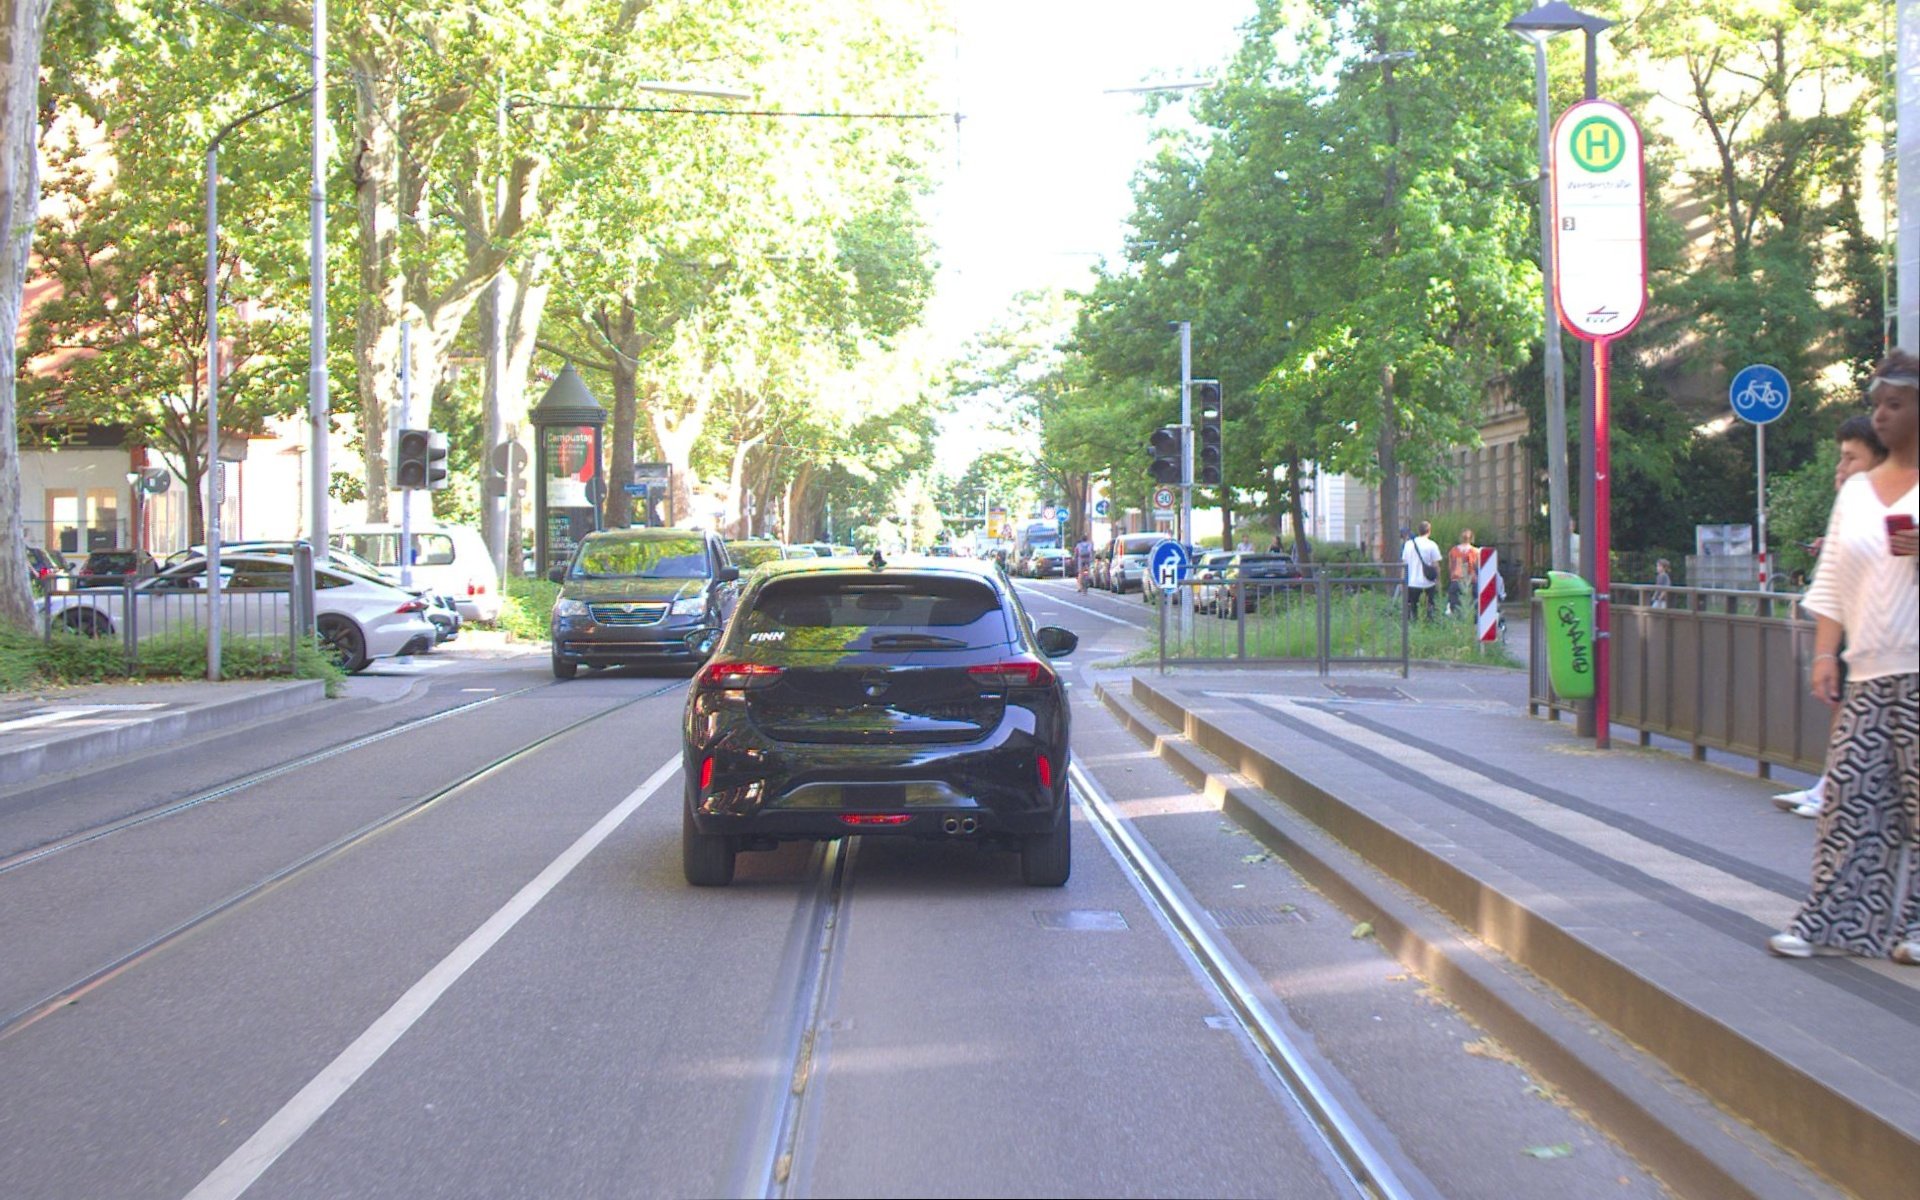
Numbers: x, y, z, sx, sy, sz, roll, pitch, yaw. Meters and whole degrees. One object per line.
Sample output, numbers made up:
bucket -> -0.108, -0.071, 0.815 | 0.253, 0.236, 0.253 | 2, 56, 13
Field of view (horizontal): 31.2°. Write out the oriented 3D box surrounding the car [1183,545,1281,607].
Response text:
car -> 6.420, -0.573, 81.455 | 1.884, 1.363, 4.107 | -2, 1, -1

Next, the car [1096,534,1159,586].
car -> 5.851, -1.403, 120.464 | 1.885, 1.760, 4.678 | 0, 1, -1

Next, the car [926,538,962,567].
car -> -1.039, -3.076, 224.620 | 2.254, 1.834, 5.531 | -1, 1, -1

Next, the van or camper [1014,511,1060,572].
van or camper -> 4.128, -3.130, 185.056 | 2.254, 3.205, 5.531 | -1, 1, -1

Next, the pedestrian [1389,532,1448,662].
pedestrian -> 6.430, -0.053, 48.204 | 0.726, 1.787, 0.853 | -2, 1, 10

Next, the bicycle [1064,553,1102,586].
bicycle -> 3.759, -0.935, 105.434 | 0.968, 0.995, 2.583 | 1, 1, -2

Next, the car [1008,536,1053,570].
car -> 3.922, -2.608, 192.260 | 2.254, 1.834, 5.531 | -1, 1, -1

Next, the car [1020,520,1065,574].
car -> 4.253, -2.772, 178.495 | 2.085, 2.762, 4.698 | -1, 1, -1

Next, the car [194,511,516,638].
car -> -9.128, -0.394, 52.166 | 4.570, 1.828, 1.939 | 1, 1, -2

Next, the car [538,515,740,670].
car -> -3.770, -0.116, 41.184 | 1.993, 1.710, 5.143 | 1, 1, -1

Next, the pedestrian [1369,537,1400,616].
pedestrian -> 9.703, -0.529, 78.562 | 0.599, 1.787, 0.728 | 1, 1, 15

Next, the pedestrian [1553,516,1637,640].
pedestrian -> 9.766, -0.340, 52.918 | 0.867, 1.878, 0.998 | 1, 1, -18

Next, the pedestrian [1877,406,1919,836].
pedestrian -> 4.126, 0.087, 14.431 | 0.493, 1.764, 0.703 | 1, 1, 14

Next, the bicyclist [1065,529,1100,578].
bicyclist -> 3.761, -1.429, 105.396 | 0.958, 1.494, 1.094 | 1, 1, -2

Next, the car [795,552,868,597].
car -> -4.266, -0.853, 113.746 | 1.660, 1.439, 3.474 | 1, 1, -15

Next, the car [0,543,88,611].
car -> -22.022, -0.542, 77.175 | 4.526, 1.484, 1.861 | 1, 1, -6

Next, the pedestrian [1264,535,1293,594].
pedestrian -> 9.250, -1.028, 99.825 | 0.726, 1.703, 0.856 | 1, 1, 1

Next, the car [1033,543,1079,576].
car -> 4.494, -1.912, 161.205 | 1.884, 1.429, 4.530 | -2, 1, -1

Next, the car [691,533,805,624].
car -> -3.969, -0.417, 64.957 | 1.908, 1.632, 4.321 | -1, 1, 0

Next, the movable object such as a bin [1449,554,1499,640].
movable object such as a bin -> 7.358, -0.051, 49.213 | 0.639, 1.198, 1.304 | -2, 1, 10

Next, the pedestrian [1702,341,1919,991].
pedestrian -> 2.595, 0.169, 9.482 | 0.638, 1.707, 0.836 | 1, 1, -35

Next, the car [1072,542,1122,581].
car -> 5.373, -1.510, 135.296 | 1.702, 1.418, 3.978 | -3, 1, -1

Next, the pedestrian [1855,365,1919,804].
pedestrian -> 4.092, -0.058, 13.604 | 0.844, 1.695, 0.693 | 1, 1, -7

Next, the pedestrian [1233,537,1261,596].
pedestrian -> 8.322, -0.966, 99.856 | 0.726, 1.687, 0.957 | 1, 1, 1

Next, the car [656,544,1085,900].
car -> -0.395, 0.484, 16.258 | 1.763, 1.455, 3.950 | 1, 1, -1

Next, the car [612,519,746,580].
car -> -10.757, -1.943, 131.868 | 5.032, 2.251, 2.086 | 1, 1, -4

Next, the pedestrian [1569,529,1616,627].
pedestrian -> 11.192, -0.387, 60.809 | 0.617, 1.720, 0.554 | 1, 1, -13

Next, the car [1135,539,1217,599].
car -> 5.989, -0.879, 95.807 | 1.884, 1.562, 4.242 | -2, 1, -1

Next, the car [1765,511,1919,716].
car -> 8.445, 0.049, 30.101 | 1.762, 1.616, 4.442 | -2, 1, 1

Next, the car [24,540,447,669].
car -> -8.678, 0.043, 41.513 | 4.763, 1.455, 1.955 | 1, 1, -5

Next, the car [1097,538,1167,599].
car -> 5.548, -1.025, 111.335 | 1.884, 1.845, 4.968 | -2, 1, -1

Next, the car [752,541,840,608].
car -> -3.706, -0.588, 78.320 | 1.775, 1.456, 4.204 | 1, 1, 0

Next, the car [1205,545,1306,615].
car -> 6.420, -0.448, 74.934 | 1.672, 1.407, 3.843 | -2, 1, -2

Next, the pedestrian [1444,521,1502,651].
pedestrian -> 7.191, -0.201, 48.193 | 0.726, 1.787, 0.967 | -2, 1, 10

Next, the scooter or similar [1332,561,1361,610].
scooter or similar -> 9.880, -0.372, 87.878 | 0.576, 1.242, 1.335 | 1, 1, 0

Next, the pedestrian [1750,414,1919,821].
pedestrian -> 3.926, 0.075, 15.138 | 0.687, 1.749, 0.580 | 1, 1, -7

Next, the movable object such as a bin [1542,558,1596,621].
movable object such as a bin -> 10.926, -0.195, 61.694 | 0.665, 1.122, 0.957 | 1, 1, -8

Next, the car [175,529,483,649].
car -> -9.112, -0.165, 49.905 | 4.139, 1.641, 1.902 | 1, 1, -2

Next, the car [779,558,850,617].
car -> -4.004, -0.364, 95.125 | 1.815, 1.563, 4.116 | -1, 1, 0

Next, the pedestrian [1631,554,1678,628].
pedestrian -> 10.636, -0.137, 52.684 | 0.674, 1.115, 0.659 | 1, 1, 11
